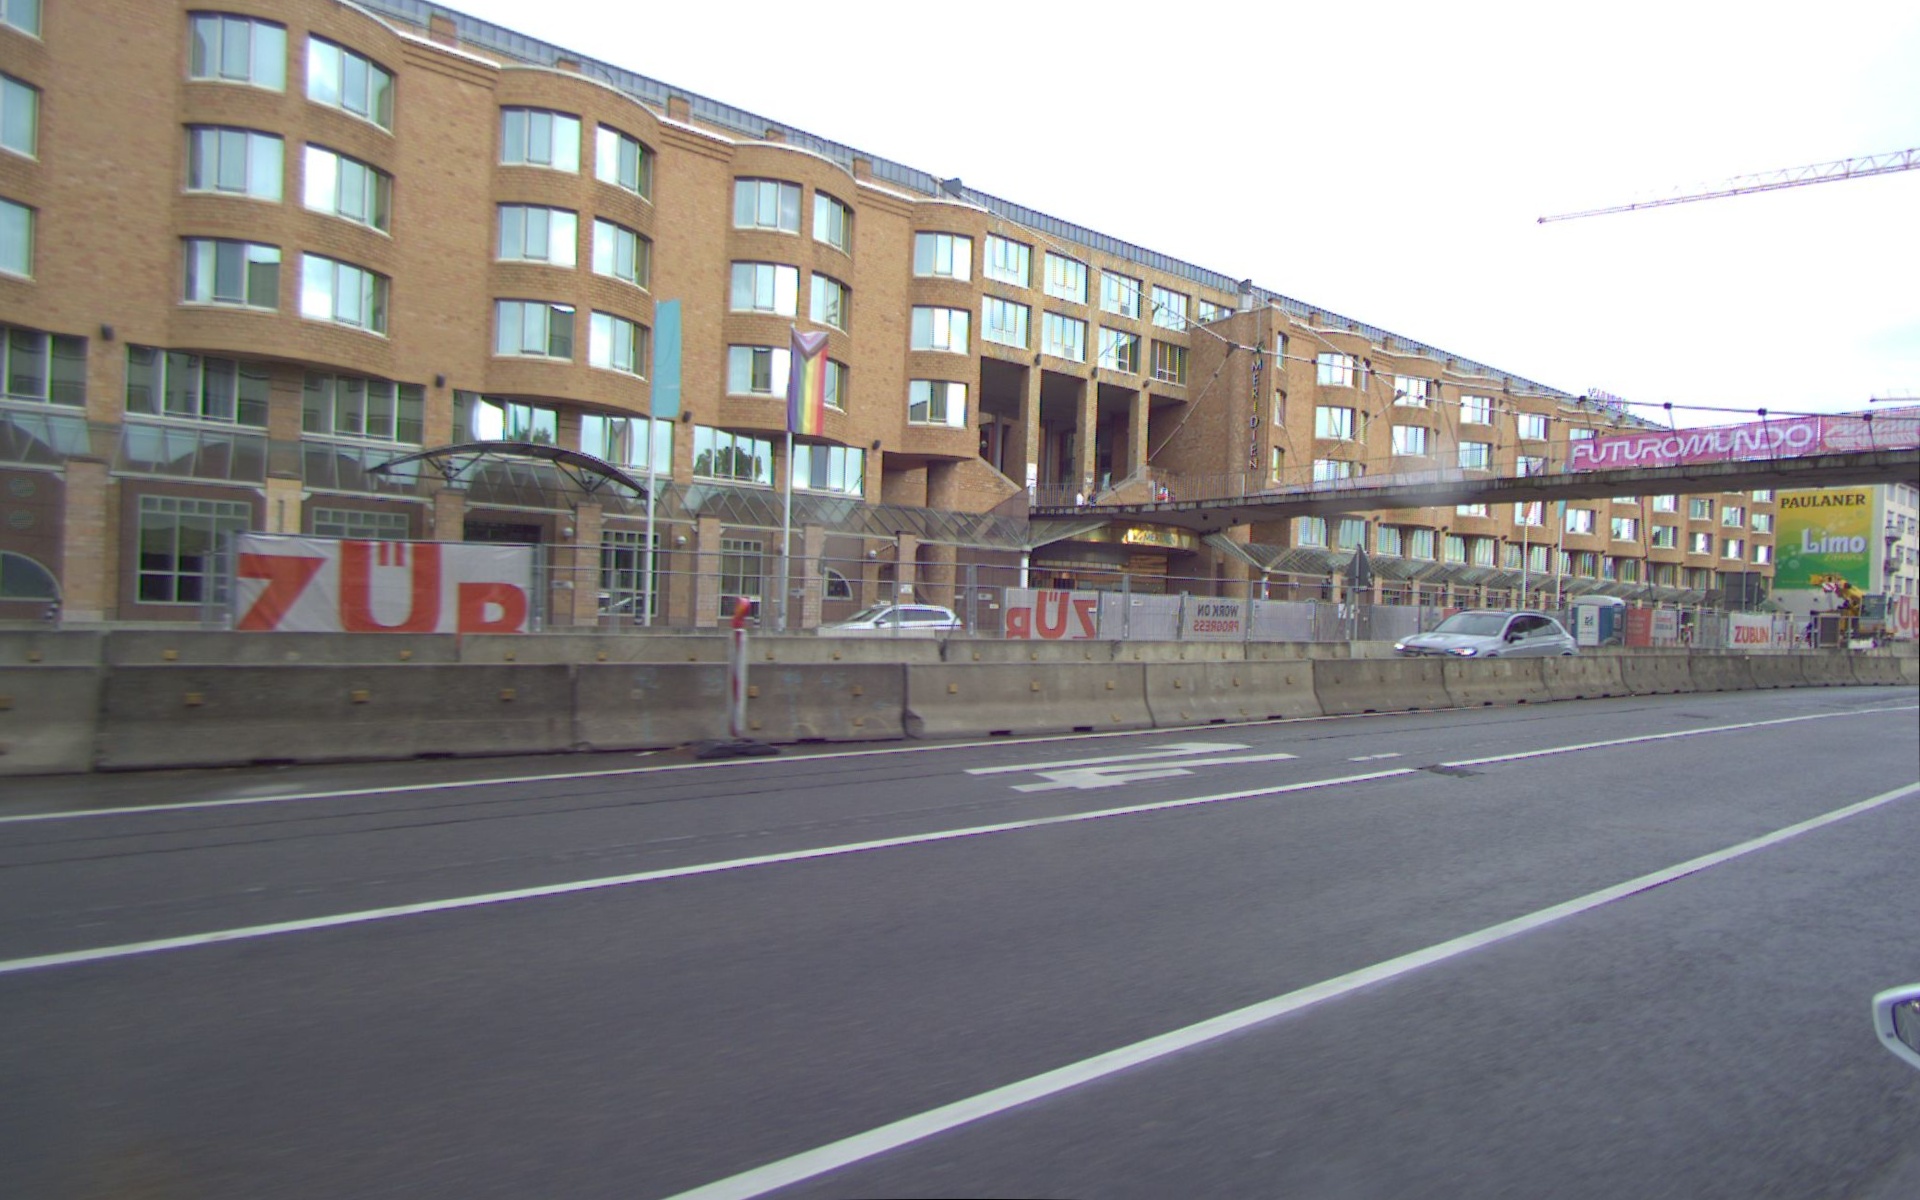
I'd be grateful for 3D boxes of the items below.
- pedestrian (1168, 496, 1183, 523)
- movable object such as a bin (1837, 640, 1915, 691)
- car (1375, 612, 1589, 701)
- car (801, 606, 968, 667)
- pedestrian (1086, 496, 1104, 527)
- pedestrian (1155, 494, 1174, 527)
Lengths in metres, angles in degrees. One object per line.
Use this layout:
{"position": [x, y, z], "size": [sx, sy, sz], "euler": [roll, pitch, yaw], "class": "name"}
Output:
{"position": [10.322, -4.323, 48.173], "size": [0.478, 1.210, 0.473], "euler": [2, -1, -31], "class": "pedestrian"}
{"position": [43.784, 3.140, 48.000], "size": [4.254, 2.307, 2.012], "euler": [3, -4, -37], "class": "movable object such as a bin"}
{"position": [11.018, 1.137, 21.112], "size": [4.652, 1.645, 1.982], "euler": [2, -1, -33], "class": "car"}
{"position": [-2.031, 1.015, 27.739], "size": [4.322, 1.546, 1.748], "euler": [2, -2, -36], "class": "car"}
{"position": [6.822, -4.450, 50.788], "size": [0.611, 1.471, 0.617], "euler": [2, -1, -31], "class": "pedestrian"}
{"position": [9.715, -4.246, 47.772], "size": [0.611, 1.471, 0.617], "euler": [2, -1, -31], "class": "pedestrian"}
